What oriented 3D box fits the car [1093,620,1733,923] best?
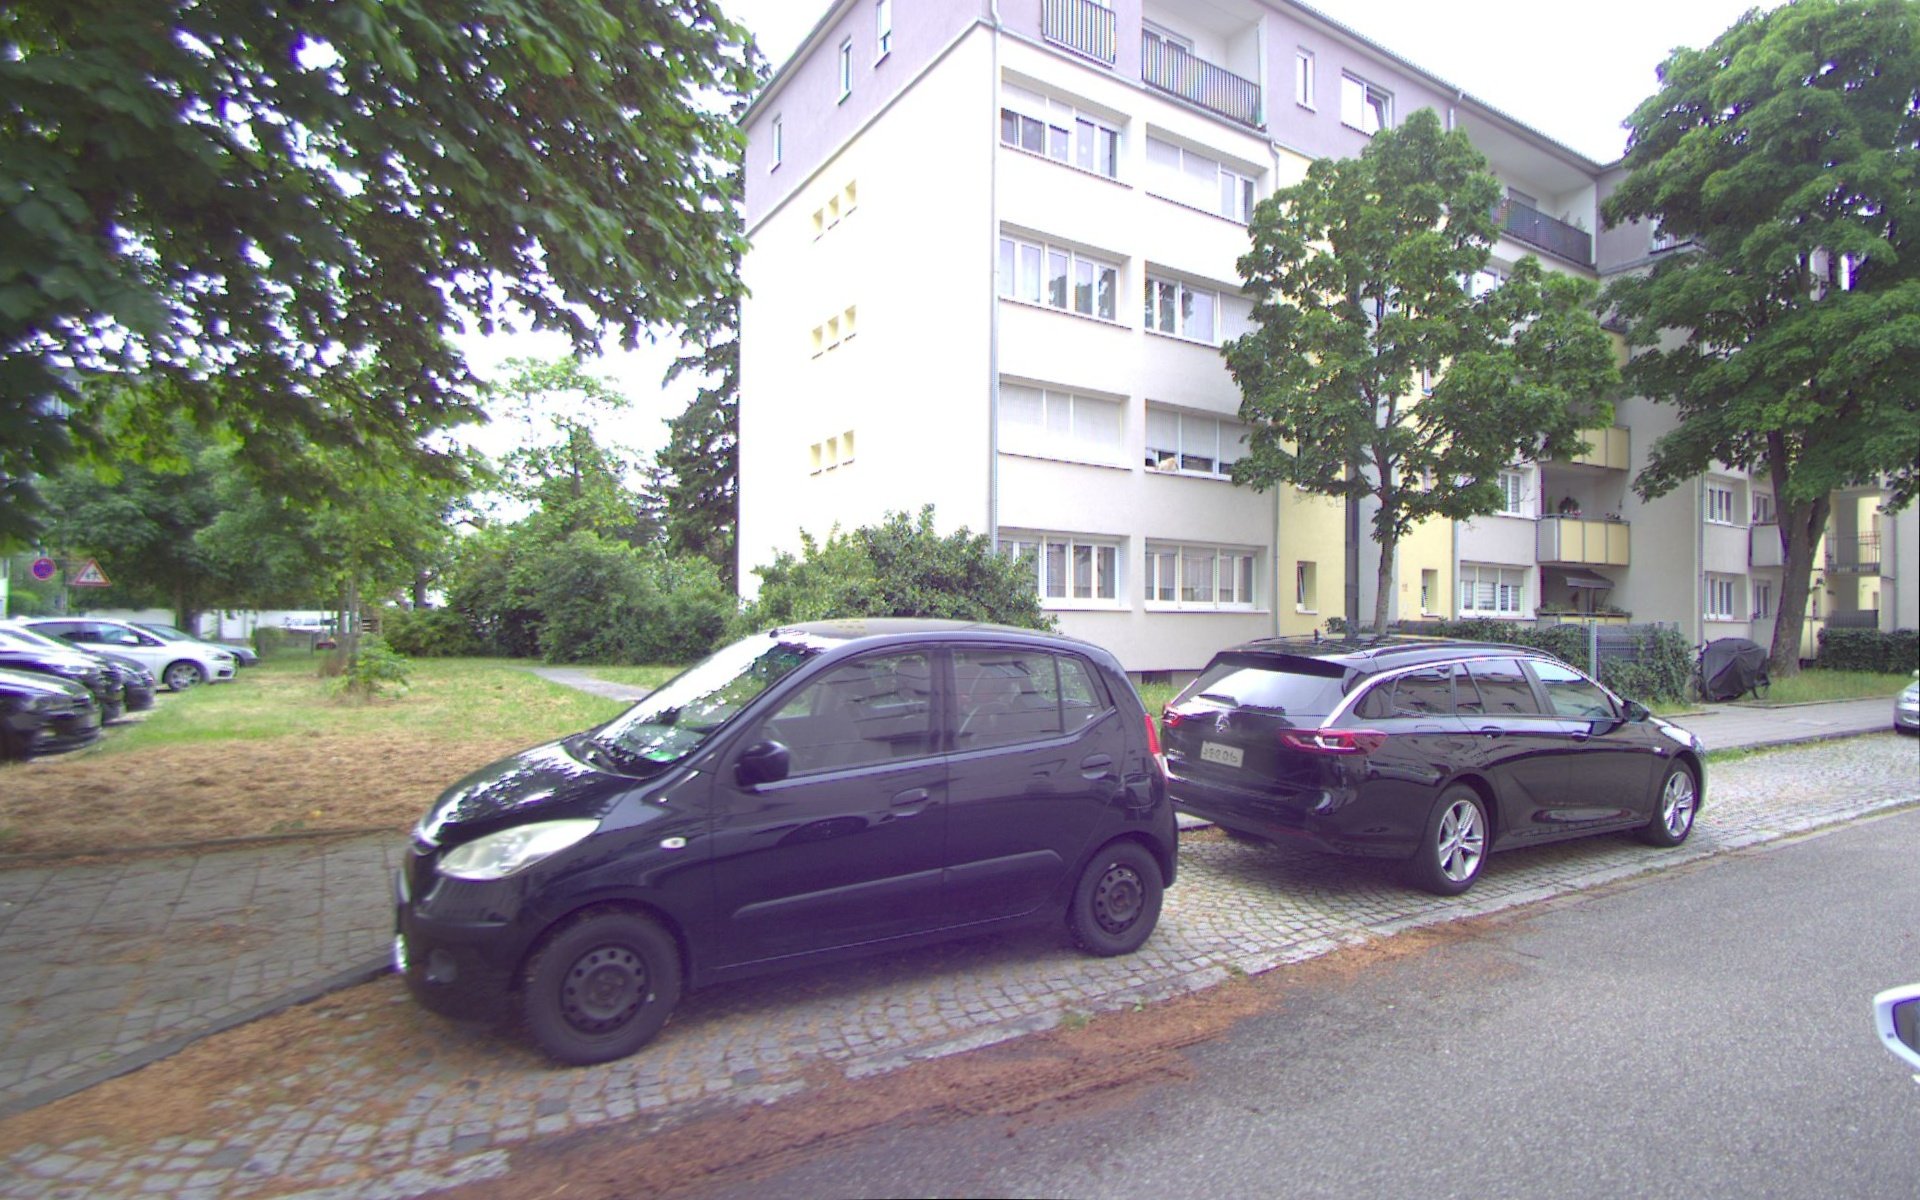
[{"bbox_3d":[3.420,0.938,7.255,4.780,1.484,1.857,1,1,-32],"label":"car"}]

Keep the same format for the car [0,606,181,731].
[{"bbox_3d":[-13.229,0.891,13.336,4.304,1.587,1.827,0,0,-29],"label":"car"}]

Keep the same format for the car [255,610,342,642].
[{"bbox_3d":[-41.337,1.608,62.842,4.452,1.884,1.979,1,1,-37],"label":"car"}]

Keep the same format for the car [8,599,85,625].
[{"bbox_3d":[-68.650,0.931,75.549,3.955,1.862,1.983,1,1,-32],"label":"car"}]

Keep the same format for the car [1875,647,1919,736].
[{"bbox_3d":[16.080,1.412,15.674,3.971,1.275,1.687,1,1,-33],"label":"car"}]

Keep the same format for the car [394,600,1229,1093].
[{"bbox_3d":[-0.603,0.807,4.710,3.549,1.513,1.517,1,1,-30],"label":"car"}]

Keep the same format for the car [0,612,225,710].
[{"bbox_3d":[-14.866,0.951,16.308,4.504,1.483,1.827,0,0,-29],"label":"car"}]

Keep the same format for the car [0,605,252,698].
[{"bbox_3d":[-17.363,1.000,20.942,4.103,1.582,1.867,-3,2,-33],"label":"car"}]

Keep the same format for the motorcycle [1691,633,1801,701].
[{"bbox_3d":[15.541,1.283,19.825,3.031,1.240,0.677,1,0,-31],"label":"motorcycle"}]

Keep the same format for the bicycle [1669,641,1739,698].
[{"bbox_3d":[15.219,1.398,20.539,1.755,1.115,0.548,1,-1,-32],"label":"bicycle"}]

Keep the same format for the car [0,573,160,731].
[{"bbox_3d":[-11.761,0.579,11.299,4.019,1.720,1.902,0,0,-29],"label":"car"}]

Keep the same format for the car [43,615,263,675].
[{"bbox_3d":[-21.590,1.154,27.122,4.518,1.474,1.662,0,0,-38],"label":"car"}]

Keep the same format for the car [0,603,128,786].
[{"bbox_3d":[-10.016,0.817,8.879,3.797,1.598,1.816,1,-2,-30],"label":"car"}]
